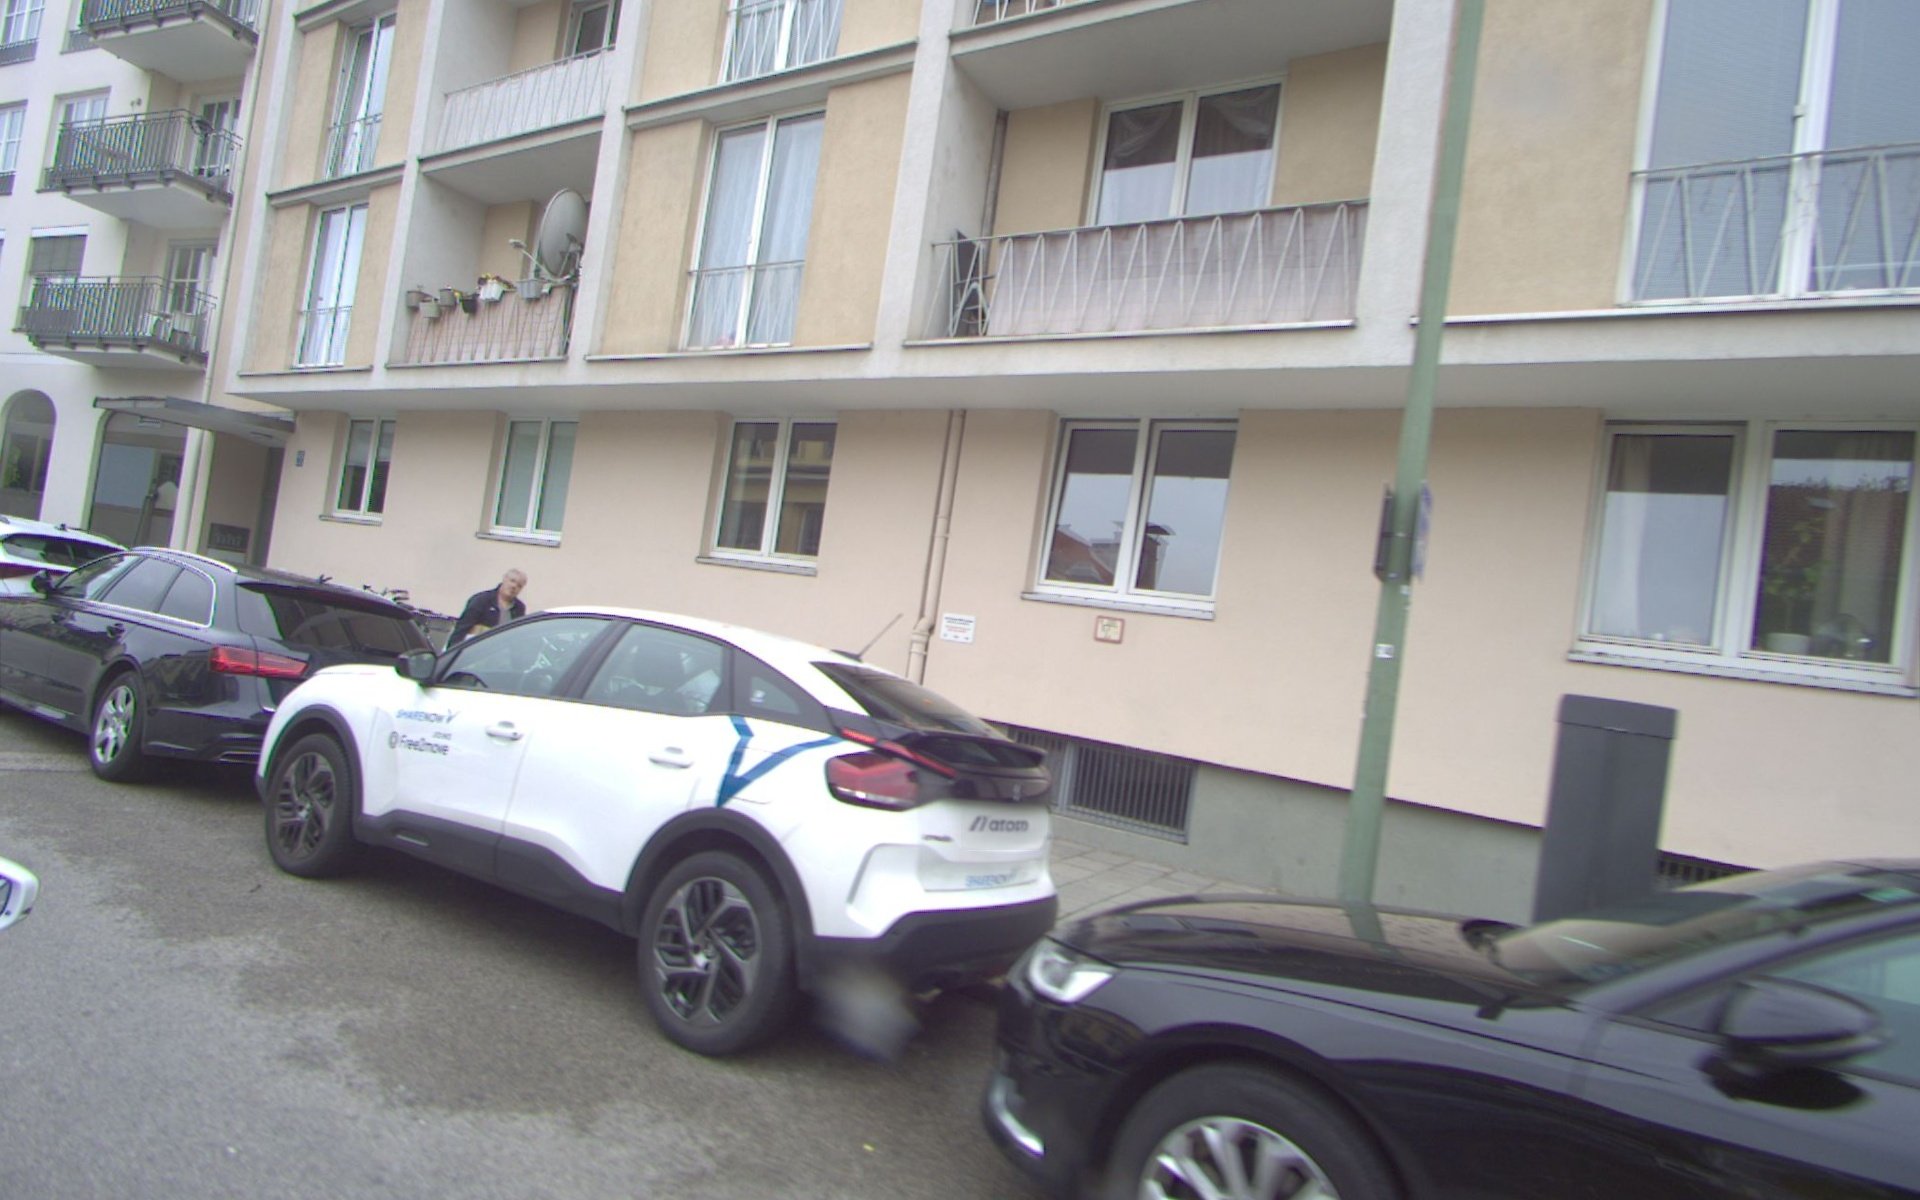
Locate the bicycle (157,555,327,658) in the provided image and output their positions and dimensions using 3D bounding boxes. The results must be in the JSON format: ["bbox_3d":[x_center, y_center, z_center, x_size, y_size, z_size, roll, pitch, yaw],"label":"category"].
[{"bbox_3d":[-10.775,0.093,15.092,2.169,1.199,1.150,7,-2,30],"label":"bicycle"}]

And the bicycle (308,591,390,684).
[{"bbox_3d":[-7.841,0.469,12.897,1.180,1.036,0.423,7,0,39],"label":"bicycle"}]

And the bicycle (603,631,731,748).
[{"bbox_3d":[-3.142,0.936,10.739,1.378,1.036,0.390,7,0,32],"label":"bicycle"}]

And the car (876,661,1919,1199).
[{"bbox_3d":[2.215,1.251,2.293,4.406,1.434,1.804,7,-6,29],"label":"car"}]

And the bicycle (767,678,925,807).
[{"bbox_3d":[-1.070,1.292,9.337,1.378,0.947,0.445,7,0,32],"label":"bicycle"}]

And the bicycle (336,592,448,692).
[{"bbox_3d":[-7.635,0.563,13.511,1.384,1.146,0.534,7,-1,28],"label":"bicycle"}]

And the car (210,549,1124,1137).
[{"bbox_3d":[-1.548,0.828,4.930,4.148,1.514,1.746,7,-5,30],"label":"car"}]

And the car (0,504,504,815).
[{"bbox_3d":[-5.631,0.349,7.455,4.421,1.512,1.747,7,-8,32],"label":"car"}]

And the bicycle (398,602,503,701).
[{"bbox_3d":[-6.260,0.618,12.330,1.378,1.036,0.390,7,0,32],"label":"bicycle"}]

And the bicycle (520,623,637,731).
[{"bbox_3d":[-4.386,0.865,11.539,1.378,1.036,0.390,7,0,32],"label":"bicycle"}]

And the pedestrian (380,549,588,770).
[{"bbox_3d":[-4.173,0.505,8.832,1.297,1.707,0.900,7,-1,30],"label":"pedestrian"}]

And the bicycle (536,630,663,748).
[{"bbox_3d":[-3.815,0.919,10.611,1.378,1.036,0.390,7,0,32],"label":"bicycle"}]

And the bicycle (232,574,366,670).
[{"bbox_3d":[-9.381,0.316,14.302,1.384,1.146,0.534,8,-1,-4],"label":"bicycle"}]

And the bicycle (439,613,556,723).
[{"bbox_3d":[-5.190,0.746,11.270,1.378,1.036,0.390,7,0,32],"label":"bicycle"}]

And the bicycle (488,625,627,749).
[{"bbox_3d":[-4.084,0.860,10.182,1.378,1.036,0.484,7,0,32],"label":"bicycle"}]

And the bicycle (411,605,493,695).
[{"bbox_3d":[-6.562,0.645,12.991,0.985,1.036,0.374,7,0,31],"label":"bicycle"}]

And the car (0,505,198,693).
[{"bbox_3d":[-10.110,-0.183,10.339,4.198,1.552,1.748,7,-5,26],"label":"car"}]

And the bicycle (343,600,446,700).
[{"bbox_3d":[-6.832,0.600,12.146,1.280,1.036,0.424,7,0,32],"label":"bicycle"}]

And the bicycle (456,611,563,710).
[{"bbox_3d":[-5.547,0.732,12.362,1.378,1.036,0.390,7,0,32],"label":"bicycle"}]
